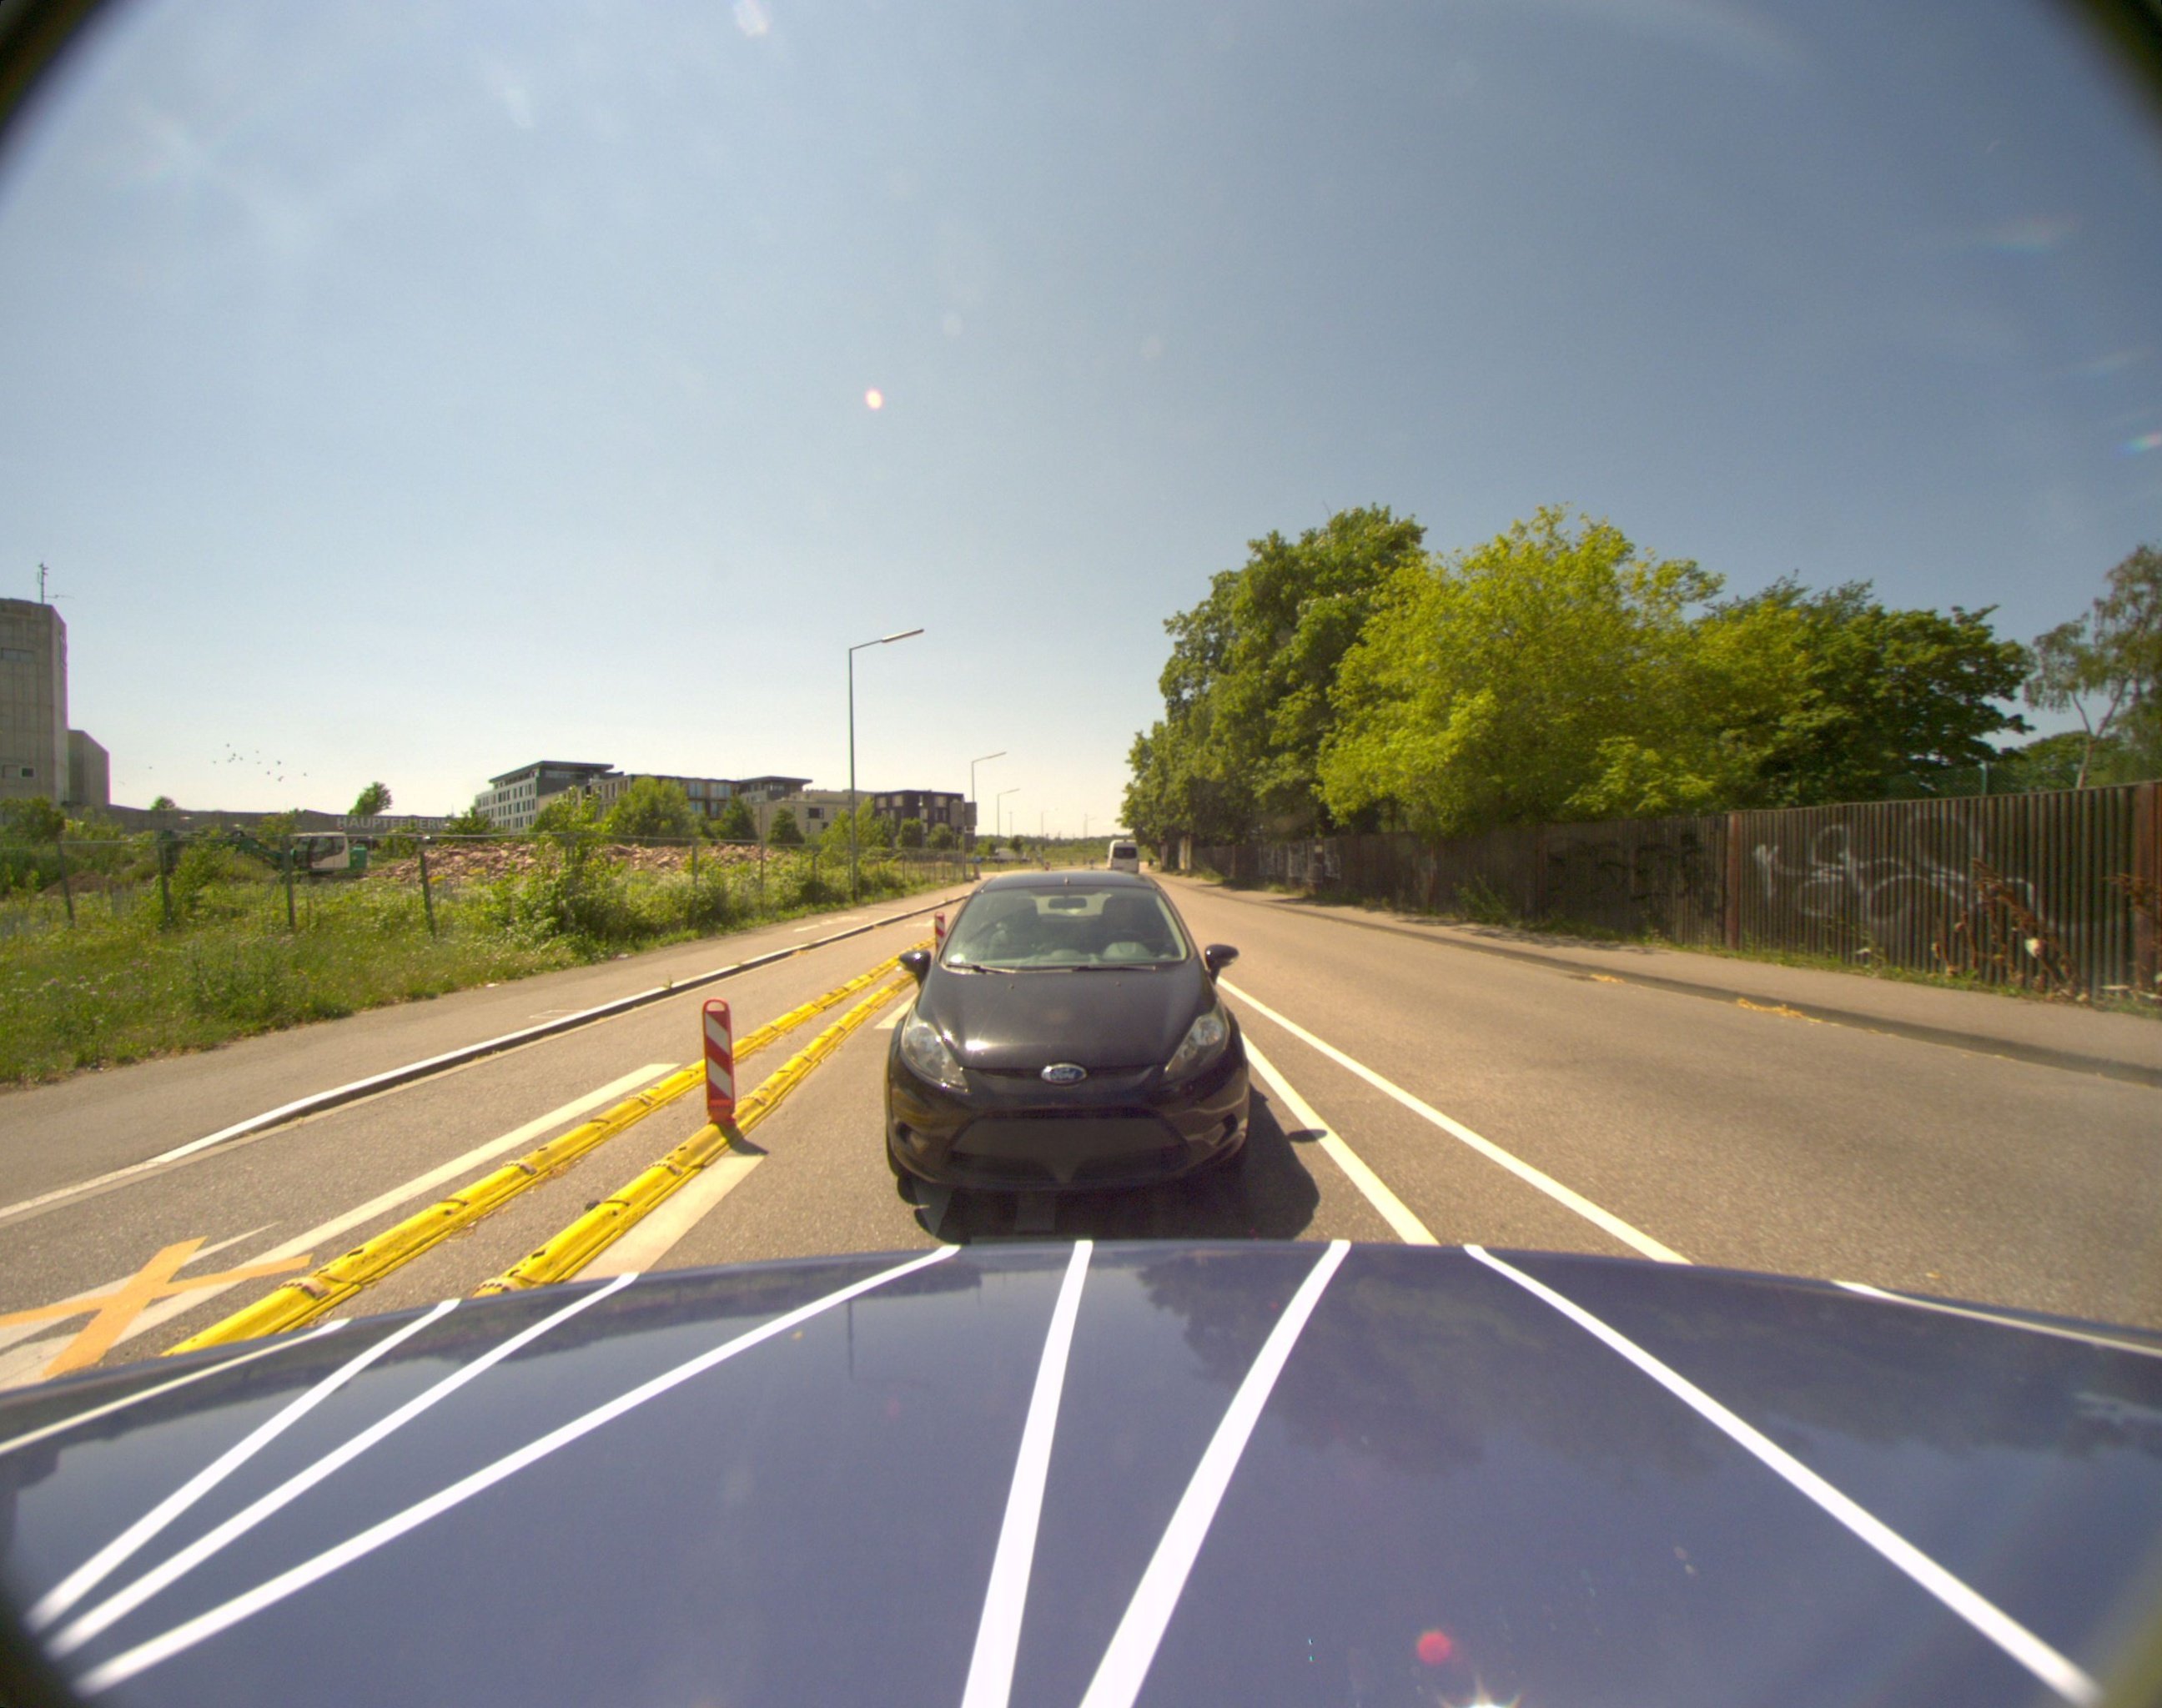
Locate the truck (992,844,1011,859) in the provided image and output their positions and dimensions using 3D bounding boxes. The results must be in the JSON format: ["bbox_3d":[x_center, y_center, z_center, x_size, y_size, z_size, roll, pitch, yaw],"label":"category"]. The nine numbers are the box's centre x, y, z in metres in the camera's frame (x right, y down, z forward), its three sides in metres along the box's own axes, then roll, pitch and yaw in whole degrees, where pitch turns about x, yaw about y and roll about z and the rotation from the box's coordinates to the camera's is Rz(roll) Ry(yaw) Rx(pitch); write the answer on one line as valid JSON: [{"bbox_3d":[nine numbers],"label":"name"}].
[{"bbox_3d":[-17.920,-0.644,171.686,4.008,3.316,1.994,-1,1,-45],"label":"truck"}]

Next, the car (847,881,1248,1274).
[{"bbox_3d":[-0.116,0.992,5.115,1.602,1.422,4.000,-2,0,1],"label":"car"}]

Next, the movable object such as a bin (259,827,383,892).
[{"bbox_3d":[-37.649,0.240,37.762,2.204,3.045,3.690,-2,1,6],"label":"movable object such as a bin"}]

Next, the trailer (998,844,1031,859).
[{"bbox_3d":[-15.163,-0.647,174.426,8.194,3.329,1.994,-1,0,-45],"label":"trailer"}]

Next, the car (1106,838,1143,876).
[{"bbox_3d":[3.002,0.171,53.979,2.025,2.524,6.825,0,0,-2],"label":"car"}]
